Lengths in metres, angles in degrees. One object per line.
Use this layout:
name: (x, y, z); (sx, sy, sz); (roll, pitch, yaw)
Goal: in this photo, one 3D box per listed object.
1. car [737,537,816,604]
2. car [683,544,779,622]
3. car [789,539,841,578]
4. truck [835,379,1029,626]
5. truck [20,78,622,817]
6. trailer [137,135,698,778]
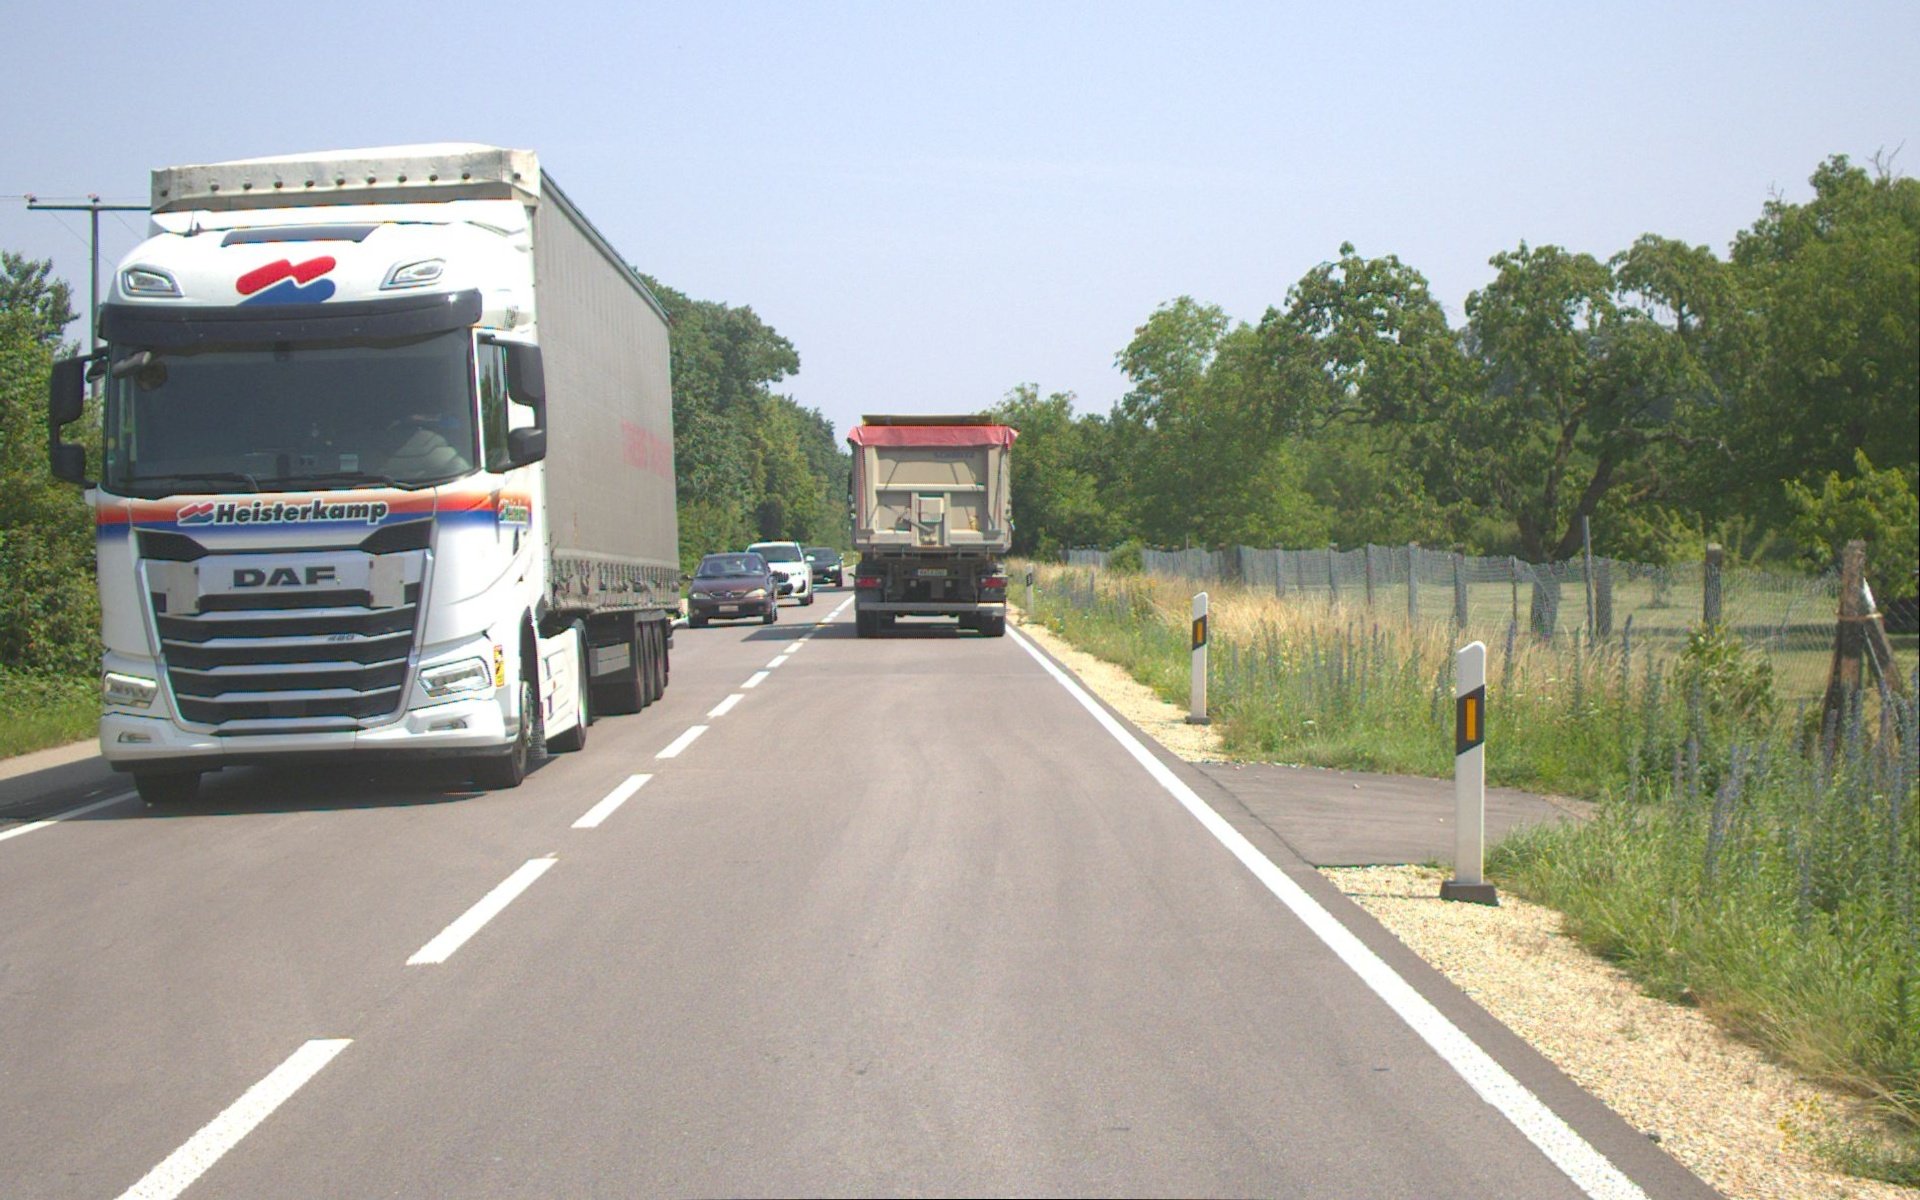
car: (-4.654, -0.773, 87.679); (1.758, 1.601, 4.482); (-3, 1, -1)
car: (-4.503, -0.361, 68.087); (1.694, 1.401, 4.046); (-3, 1, -2)
car: (-5.334, -1.549, 127.199); (1.758, 1.353, 4.046); (-3, 1, -1)
truck: (-0.526, -1.636, 60.675); (3.009, 3.861, 12.210); (1, 1, -1)
truck: (-4.132, -0.976, 23.994); (2.717, 4.251, 7.390); (-2, 1, -1)
trailer: (-4.205, -1.115, 30.249); (2.717, 4.251, 13.811); (-2, 1, -1)
